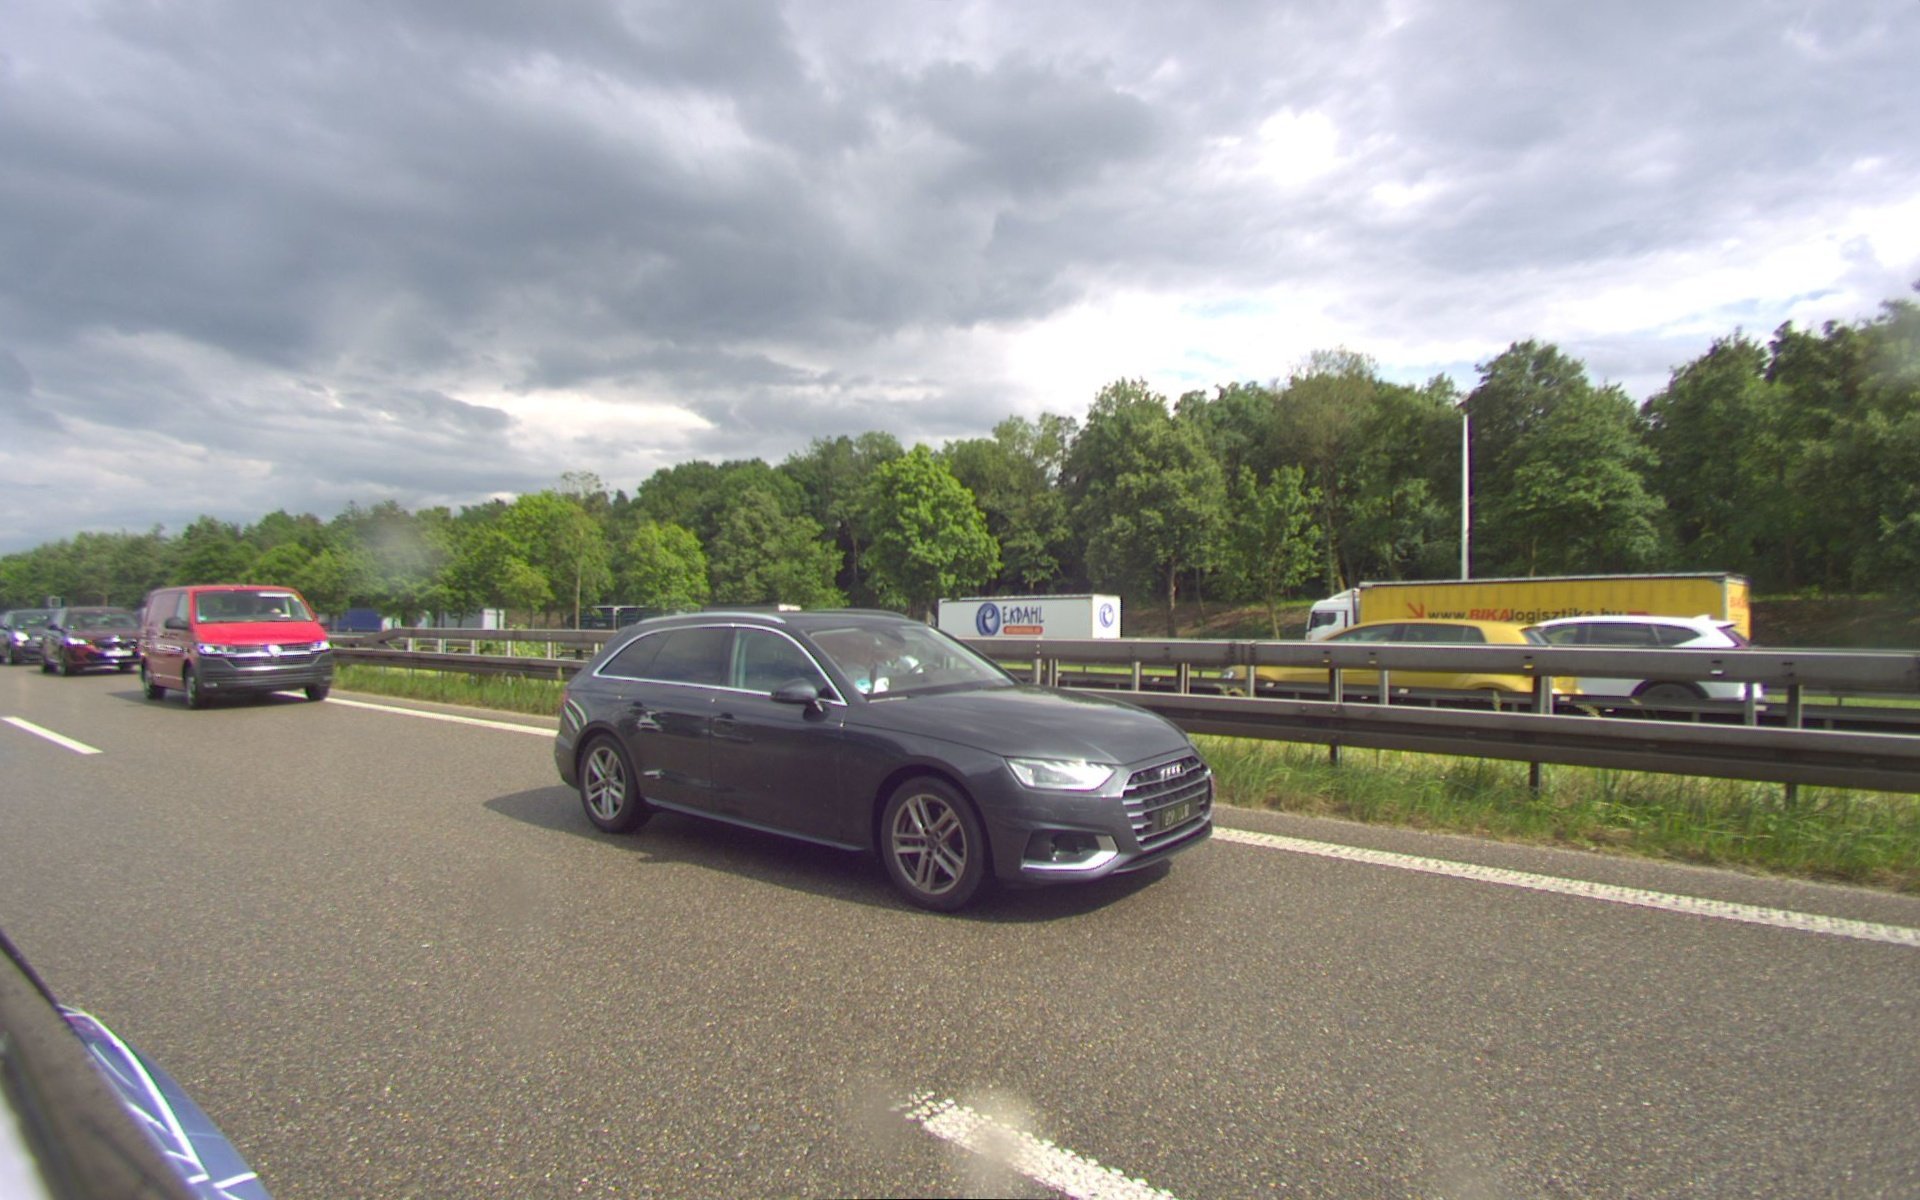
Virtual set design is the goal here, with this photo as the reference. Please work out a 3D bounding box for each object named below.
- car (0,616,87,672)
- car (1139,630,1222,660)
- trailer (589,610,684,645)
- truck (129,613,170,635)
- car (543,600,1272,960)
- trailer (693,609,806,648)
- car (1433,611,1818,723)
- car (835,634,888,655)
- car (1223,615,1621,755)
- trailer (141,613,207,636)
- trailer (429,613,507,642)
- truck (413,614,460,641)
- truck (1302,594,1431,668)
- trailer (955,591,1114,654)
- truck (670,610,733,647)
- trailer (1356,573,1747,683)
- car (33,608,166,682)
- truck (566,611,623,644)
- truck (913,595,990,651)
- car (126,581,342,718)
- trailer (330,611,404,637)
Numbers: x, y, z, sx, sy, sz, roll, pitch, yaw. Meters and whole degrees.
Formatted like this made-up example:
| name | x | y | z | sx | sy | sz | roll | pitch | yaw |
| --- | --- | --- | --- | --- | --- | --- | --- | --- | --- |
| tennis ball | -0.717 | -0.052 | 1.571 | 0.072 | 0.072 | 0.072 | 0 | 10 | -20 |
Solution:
| name | x | y | z | sx | sy | sz | roll | pitch | yaw |
| --- | --- | --- | --- | --- | --- | --- | --- | --- | --- |
| car | -28.394 | 1.306 | 31.033 | 4.050 | 1.578 | 1.871 | -1 | -1 | 40 |
| car | 11.819 | 2.409 | 54.425 | 1.871 | 1.514 | 4.005 | 2 | -2 | -42 |
| trailer | -32.062 | 2.730 | 99.871 | 12.639 | 3.296 | 2.577 | -1 | -3 | 40 |
| truck | -131.296 | 3.913 | 163.964 | 6.307 | 3.509 | 2.674 | -1 | -2 | 27 |
| car | -0.610 | 0.742 | 6.117 | 4.464 | 1.422 | 1.702 | -1 | -1 | 41 |
| trailer | -18.395 | 2.476 | 87.583 | 12.172 | 3.217 | 2.987 | -1 | -2 | 43 |
| car | 9.378 | 0.840 | 14.484 | 4.408 | 1.347 | 1.783 | -1 | 0 | 41 |
| car | -7.510 | 3.379 | 76.606 | 4.002 | 1.514 | 1.873 | -1 | -3 | 45 |
| car | 5.396 | 0.878 | 12.094 | 3.998 | 1.347 | 1.783 | -1 | 0 | 41 |
| trailer | -124.914 | 3.860 | 160.760 | 13.351 | 3.539 | 2.681 | 0 | -2 | 27 |
| trailer | -59.272 | 3.303 | 121.629 | 12.630 | 3.296 | 3.154 | -1 | -2 | 38 |
| truck | -65.424 | 3.402 | 126.456 | 5.384 | 3.280 | 3.142 | -1 | -3 | 38 |
| truck | 18.301 | 1.339 | 45.775 | 1.950 | 3.121 | 5.087 | -1 | 0 | -37 |
| trailer | 4.376 | 1.449 | 63.208 | 2.156 | 3.627 | 11.733 | 2 | -2 | -42 |
| truck | -23.717 | 2.602 | 92.678 | 5.596 | 3.208 | 3.009 | -1 | -2 | 42 |
| trailer | 22.544 | 0.988 | 40.181 | 1.967 | 3.723 | 13.688 | 0 | 0 | -37 |
| car | -21.643 | 1.074 | 25.400 | 4.292 | 1.682 | 1.871 | -1 | -1 | 40 |
| truck | -37.866 | 2.824 | 104.811 | 6.532 | 3.275 | 2.549 | -1 | -2 | 40 |
| truck | -0.631 | 1.601 | 68.776 | 2.136 | 3.648 | 5.585 | 2 | -2 | -42 |
| car | -12.293 | 0.758 | 17.014 | 4.747 | 2.000 | 1.871 | -1 | -1 | 40 |
| trailer | -79.707 | 3.176 | 135.792 | 13.374 | 3.296 | 3.051 | -1 | -2 | 34 |
